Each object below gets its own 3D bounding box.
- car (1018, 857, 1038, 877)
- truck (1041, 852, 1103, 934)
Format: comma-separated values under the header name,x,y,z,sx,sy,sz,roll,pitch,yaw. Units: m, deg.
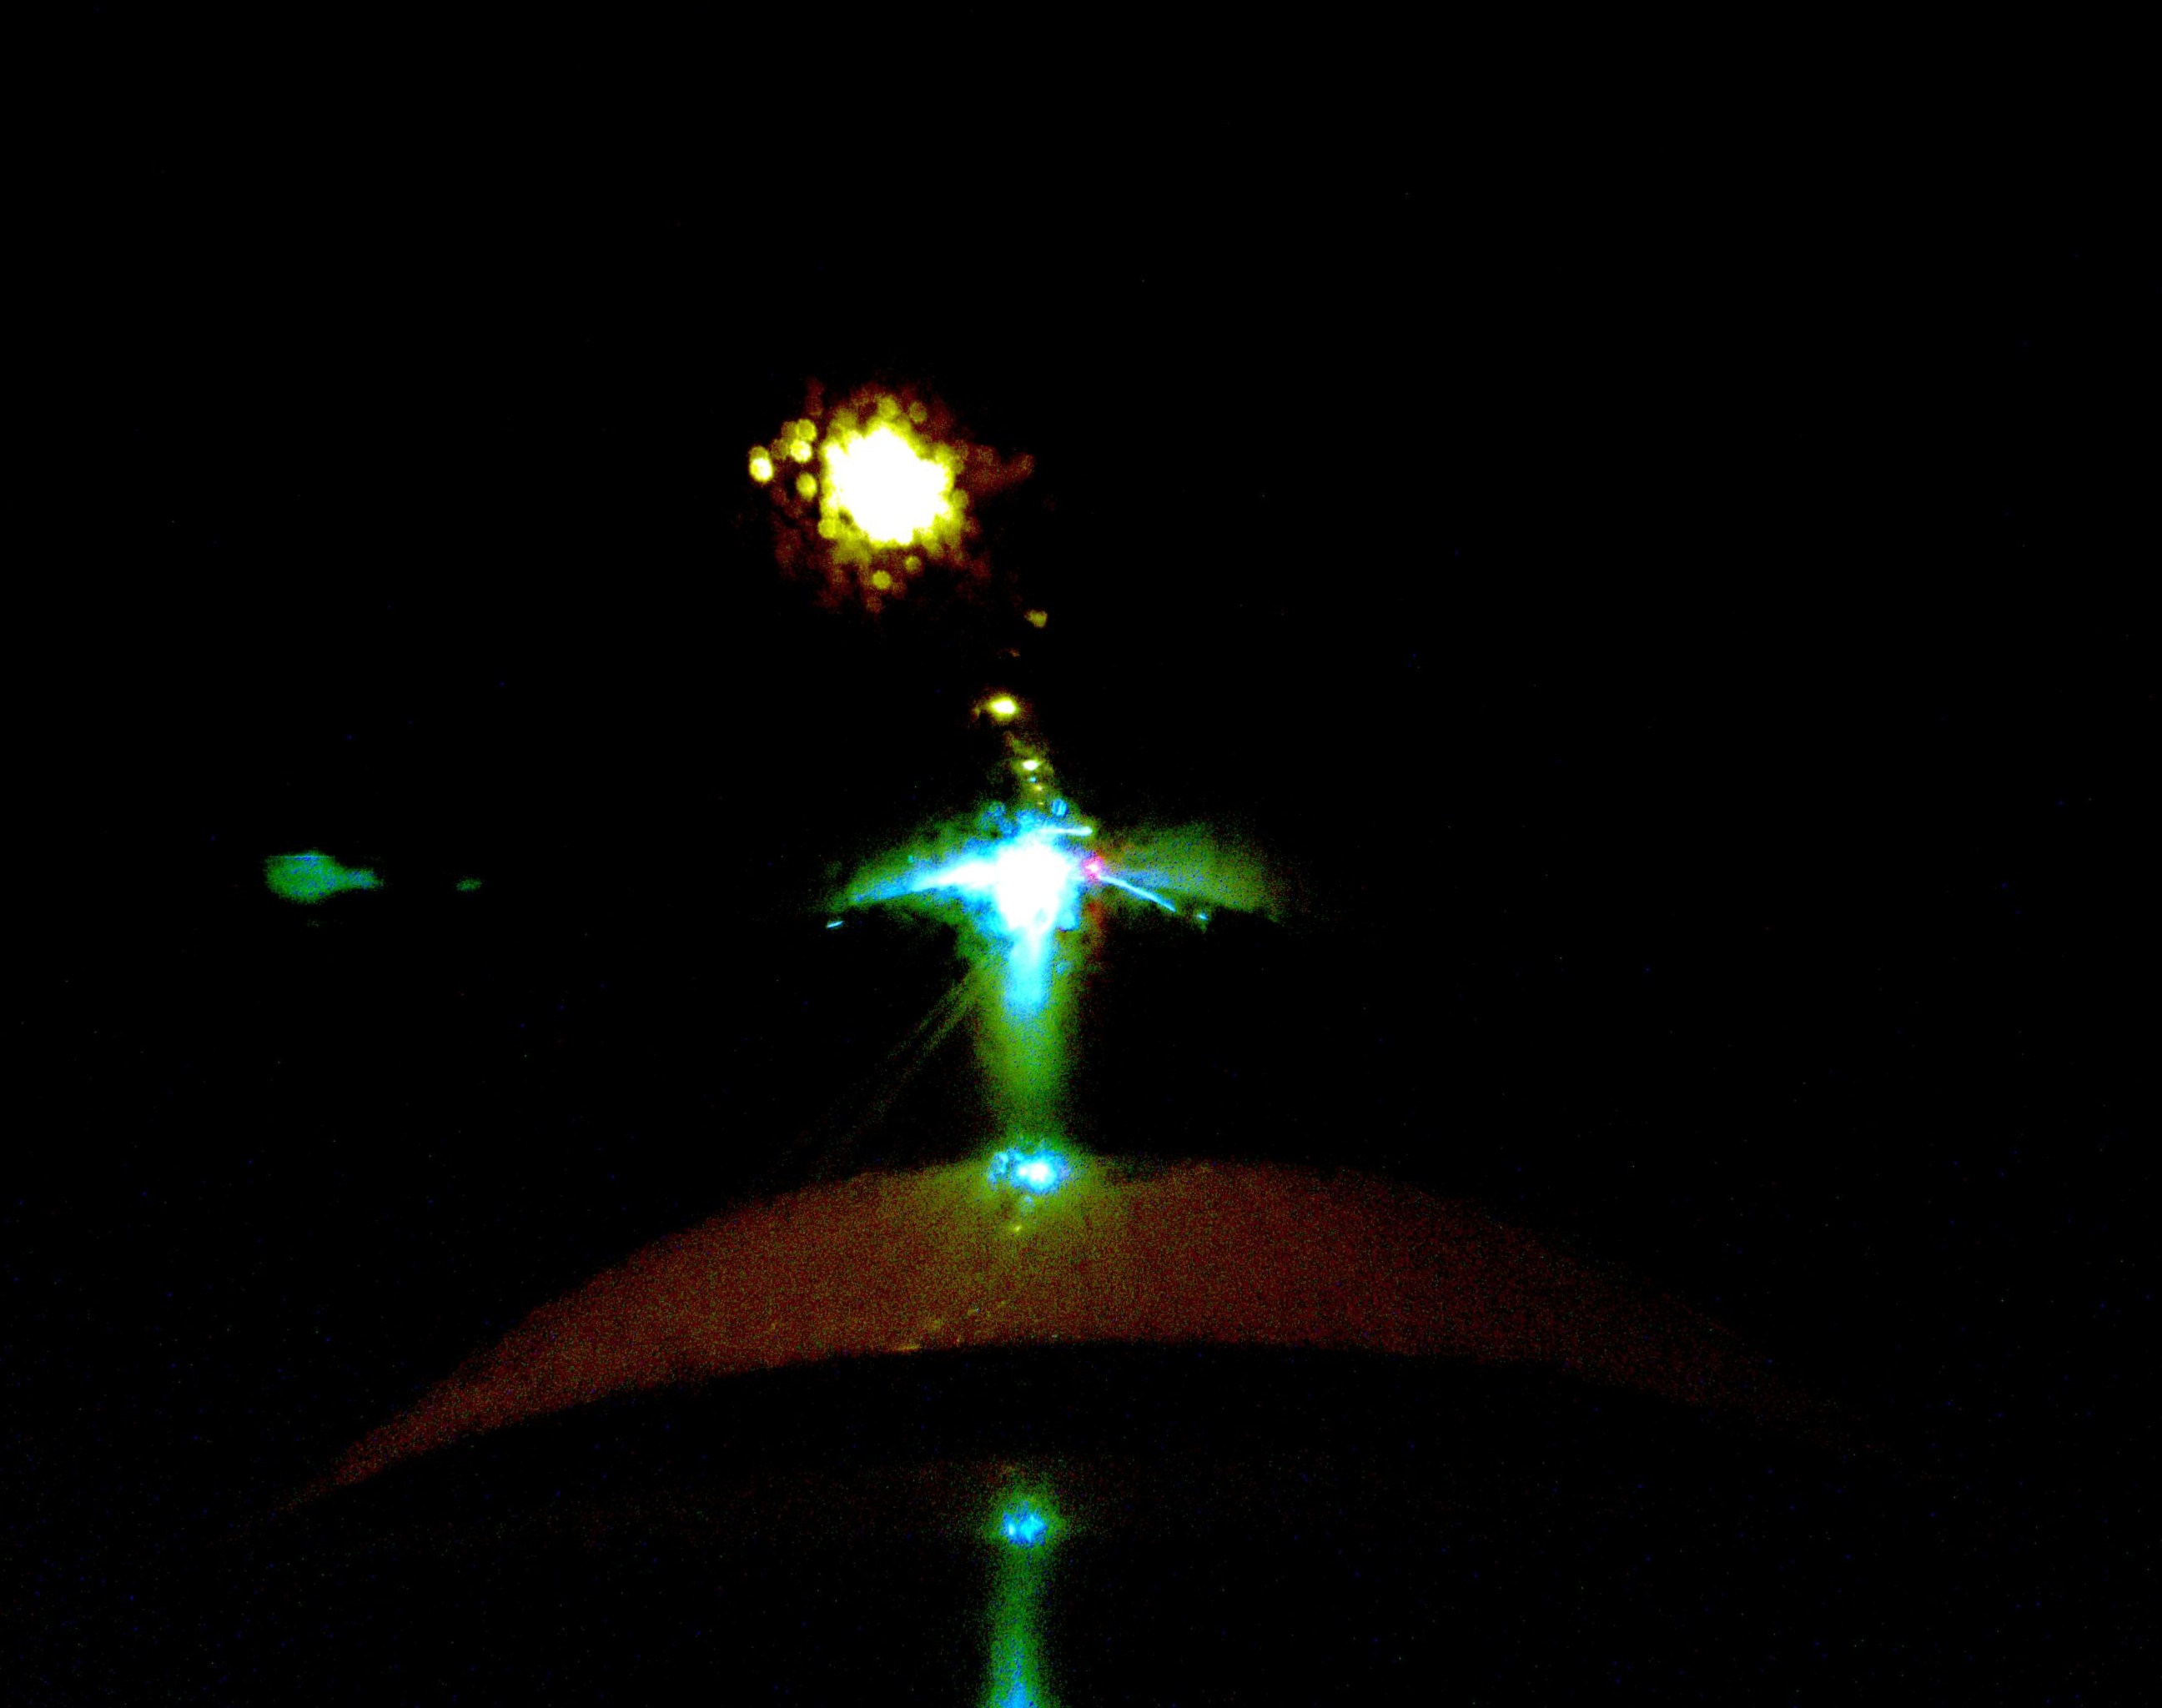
name,x,y,z,sx,sy,sz,roll,pitch,yaw
car,-4.398,1.068,67.506,1.618,1.517,4.131,-1,0,-4
truck,-0.362,1.463,33.690,2.255,3.011,7.412,1,0,-1
